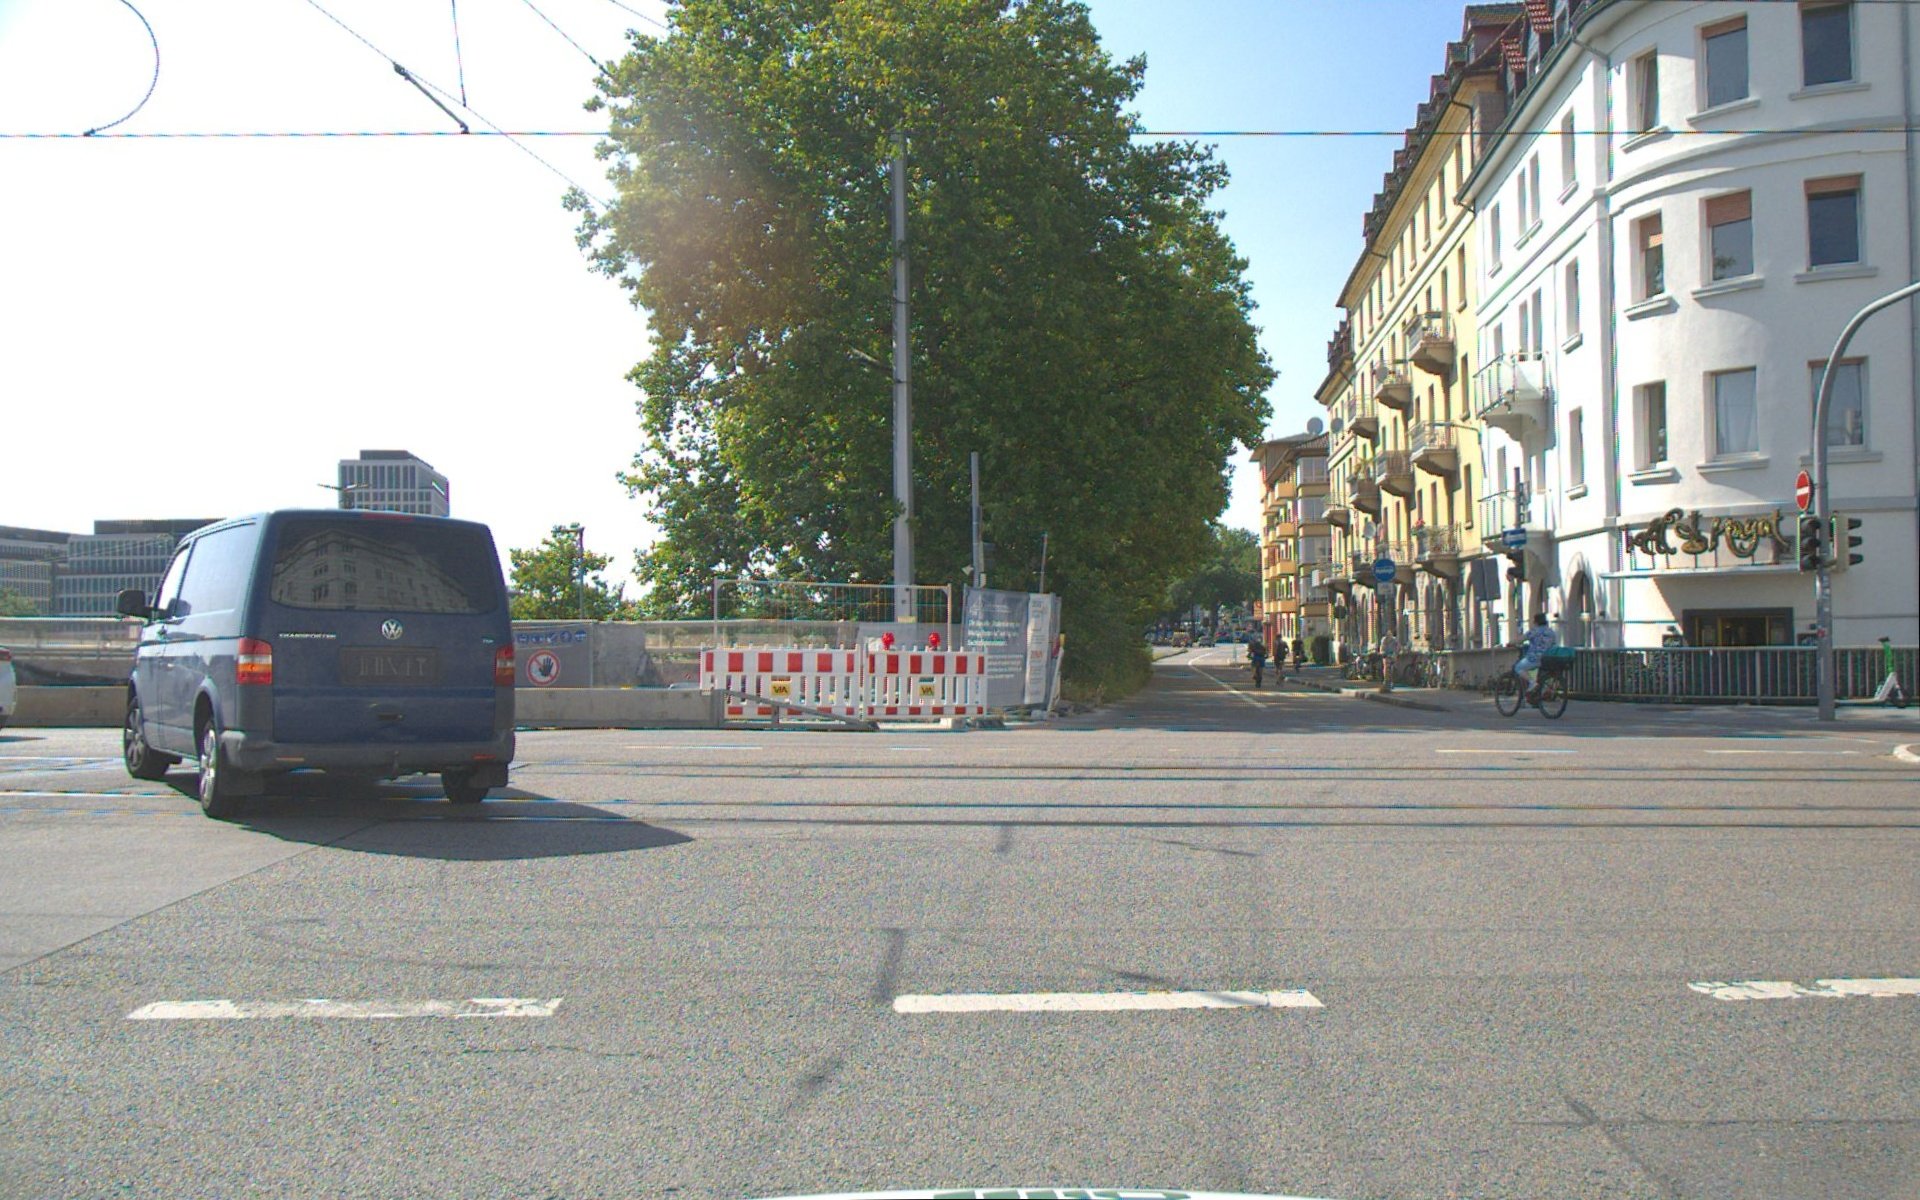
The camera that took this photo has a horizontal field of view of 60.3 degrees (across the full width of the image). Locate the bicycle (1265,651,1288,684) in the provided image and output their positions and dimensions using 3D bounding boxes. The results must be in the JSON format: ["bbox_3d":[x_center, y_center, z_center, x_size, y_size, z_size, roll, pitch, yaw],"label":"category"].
[{"bbox_3d":[11.531,2.430,60.259,0.819,1.157,2.861,0,-2,11],"label":"bicycle"}]

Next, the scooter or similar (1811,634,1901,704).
[{"bbox_3d":[14.933,1.140,27.581,1.273,1.137,0.339,0,-1,20],"label":"scooter or similar"}]

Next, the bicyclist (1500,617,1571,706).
[{"bbox_3d":[9.499,1.002,27.328,0.847,1.440,0.917,0,-1,0],"label":"bicyclist"}]

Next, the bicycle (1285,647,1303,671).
[{"bbox_3d":[16.411,2.879,81.382,0.819,1.157,2.861,0,-2,11],"label":"bicycle"}]

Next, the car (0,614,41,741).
[{"bbox_3d":[-12.473,0.877,18.827,3.330,1.430,1.723,-1,-2,19],"label":"car"}]

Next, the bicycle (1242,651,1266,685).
[{"bbox_3d":[10.254,2.351,57.661,0.819,1.157,2.861,0,-2,11],"label":"bicycle"}]

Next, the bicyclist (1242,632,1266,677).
[{"bbox_3d":[10.261,1.892,57.642,0.819,1.564,1.024,0,-2,10],"label":"bicyclist"}]

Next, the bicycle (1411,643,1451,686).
[{"bbox_3d":[13.272,1.809,46.687,0.819,1.157,2.861,0,-2,10],"label":"bicycle"}]

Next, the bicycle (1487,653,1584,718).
[{"bbox_3d":[9.500,1.390,27.383,0.847,1.007,2.246,0,-1,1],"label":"bicycle"}]

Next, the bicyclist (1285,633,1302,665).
[{"bbox_3d":[16.398,2.404,81.312,0.819,1.564,1.024,0,-2,10],"label":"bicyclist"}]

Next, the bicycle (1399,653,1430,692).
[{"bbox_3d":[13.791,2.188,50.247,0.665,1.094,2.294,0,-1,9],"label":"bicycle"}]

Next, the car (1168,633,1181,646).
[{"bbox_3d":[27.936,5.124,215.598,1.591,1.651,3.698,0,0,7],"label":"car"}]

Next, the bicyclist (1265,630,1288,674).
[{"bbox_3d":[11.550,1.893,60.392,0.819,1.564,1.024,0,-2,10],"label":"bicyclist"}]

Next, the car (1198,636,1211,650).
[{"bbox_3d":[31.884,5.617,215.786,1.591,1.651,3.698,0,0,7],"label":"car"}]

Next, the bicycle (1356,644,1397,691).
[{"bbox_3d":[10.622,1.712,42.287,0.819,1.157,2.861,0,-2,10],"label":"bicycle"}]

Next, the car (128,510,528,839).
[{"bbox_3d":[-4.696,0.428,11.935,1.801,1.939,4.004,0,0,-35],"label":"car"}]

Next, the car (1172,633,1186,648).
[{"bbox_3d":[25.009,4.604,189.219,1.591,1.651,3.698,0,0,7],"label":"car"}]

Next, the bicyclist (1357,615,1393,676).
[{"bbox_3d":[10.591,1.153,42.209,0.819,1.534,0.953,0,-2,10],"label":"bicyclist"}]

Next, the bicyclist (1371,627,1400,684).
[{"bbox_3d":[12.202,1.583,47.454,0.693,1.577,0.785,-2,-1,10],"label":"bicyclist"}]

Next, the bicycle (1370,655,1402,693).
[{"bbox_3d":[12.210,2.114,47.415,0.693,1.008,1.821,-2,0,10],"label":"bicycle"}]

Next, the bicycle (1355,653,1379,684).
[{"bbox_3d":[15.001,2.510,61.032,0.665,1.094,2.294,0,-1,9],"label":"bicycle"}]
